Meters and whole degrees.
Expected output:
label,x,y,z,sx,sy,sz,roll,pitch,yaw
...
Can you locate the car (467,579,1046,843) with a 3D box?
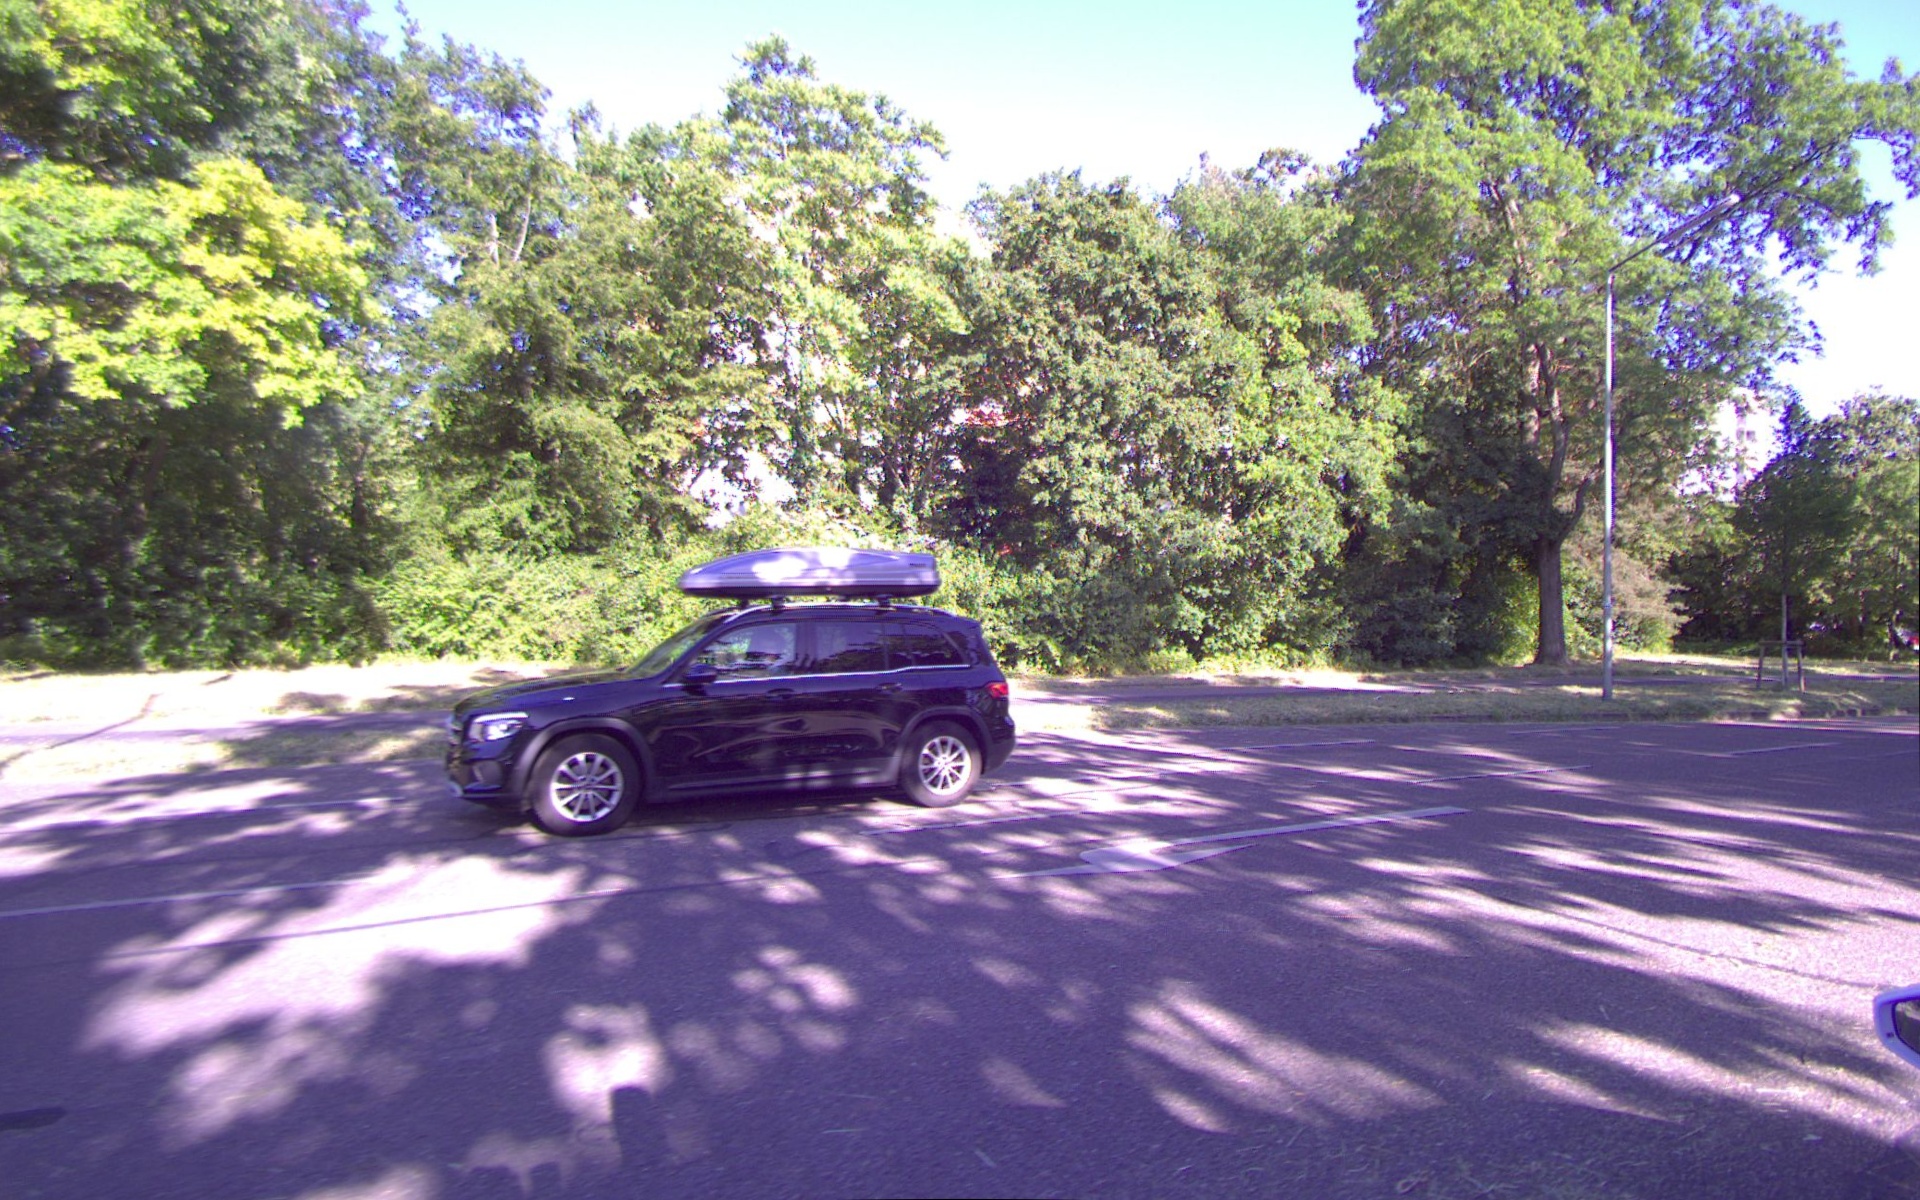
label,x,y,z,sx,sy,sz,roll,pitch,yaw
car,-1.643,0.800,8.428,4.447,1.731,1.833,1,-2,-27
